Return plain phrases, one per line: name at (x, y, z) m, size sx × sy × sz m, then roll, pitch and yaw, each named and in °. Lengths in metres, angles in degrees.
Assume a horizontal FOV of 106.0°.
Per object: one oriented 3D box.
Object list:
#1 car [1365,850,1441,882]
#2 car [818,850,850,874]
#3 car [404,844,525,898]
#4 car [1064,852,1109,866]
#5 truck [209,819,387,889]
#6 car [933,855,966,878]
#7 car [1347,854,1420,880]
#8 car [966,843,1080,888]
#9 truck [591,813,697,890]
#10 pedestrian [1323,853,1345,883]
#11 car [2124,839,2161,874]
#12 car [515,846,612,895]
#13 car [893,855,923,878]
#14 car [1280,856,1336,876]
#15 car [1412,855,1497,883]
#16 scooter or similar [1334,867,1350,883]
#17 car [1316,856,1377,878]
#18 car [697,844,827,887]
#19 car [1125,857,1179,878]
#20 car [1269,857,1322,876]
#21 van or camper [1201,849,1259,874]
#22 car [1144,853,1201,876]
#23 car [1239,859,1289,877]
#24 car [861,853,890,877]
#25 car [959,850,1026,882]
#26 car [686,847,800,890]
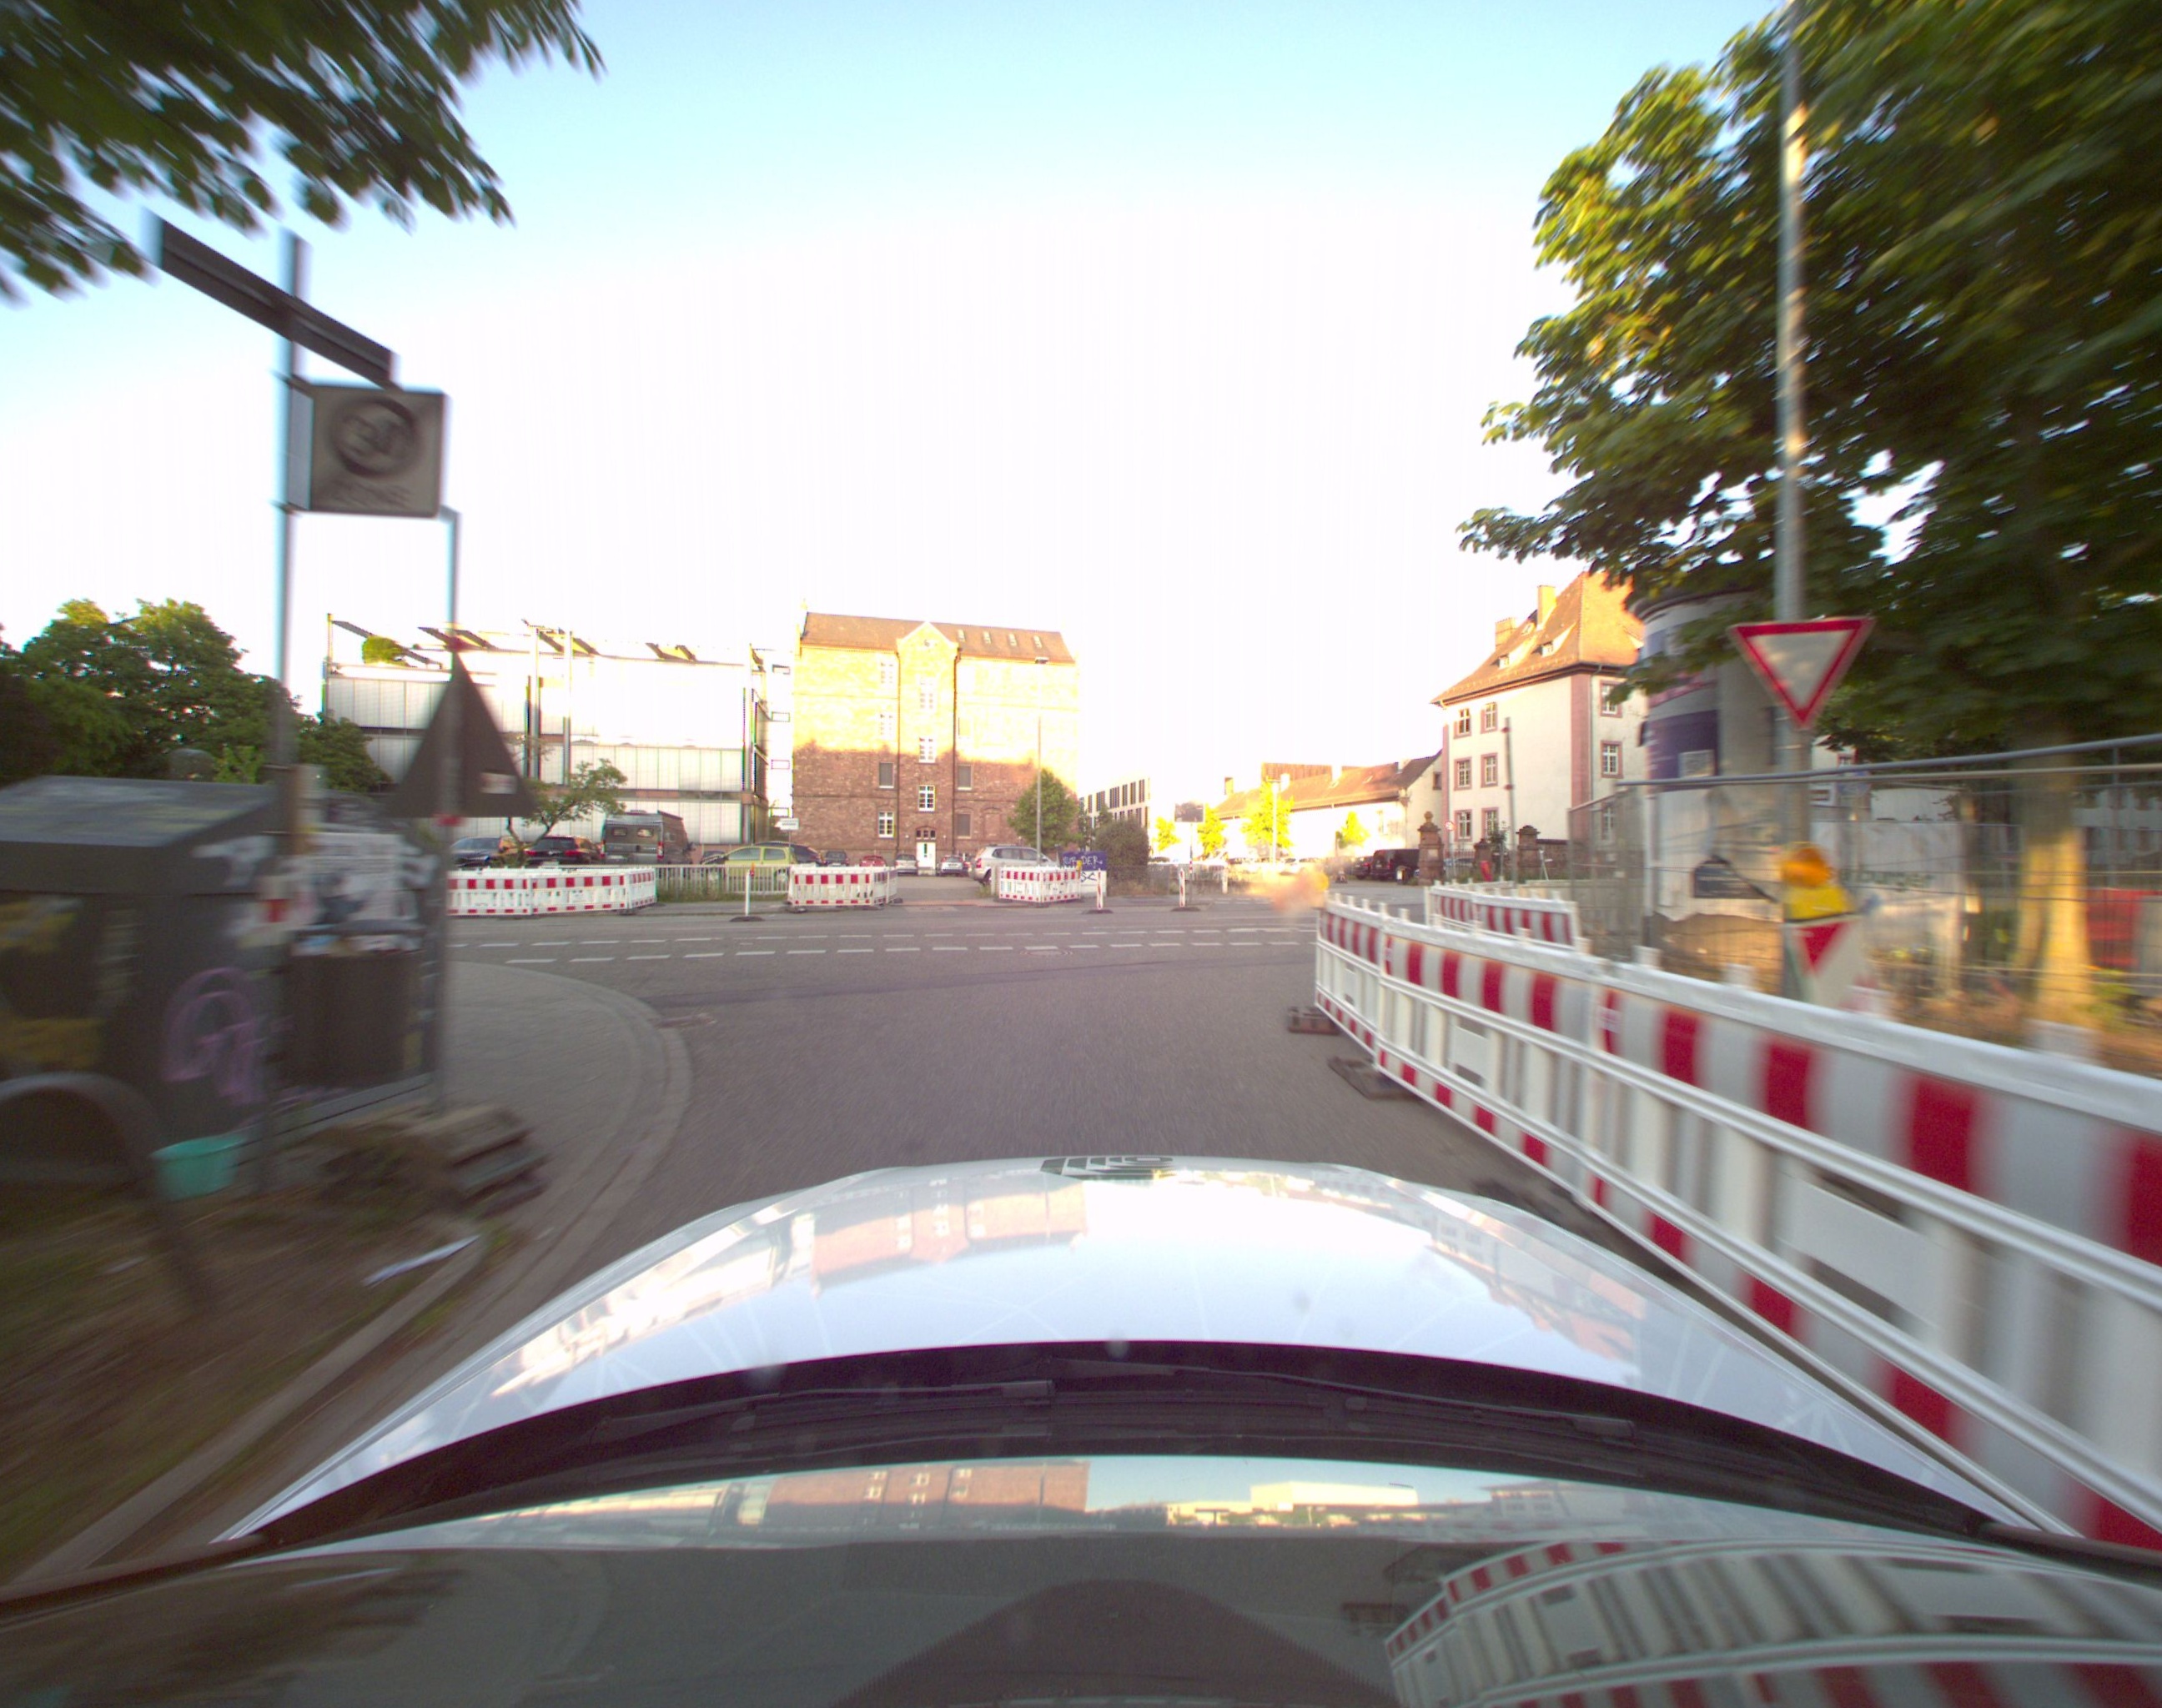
car at (19.551, 0.728, 49.476) m, size 3.999 × 1.859 × 1.987 m, roll 0°, pitch -1°, yaw -19°
car at (-16.645, 0.513, 55.124) m, size 1.899 × 1.537 × 4.158 m, roll 0°, pitch 0°, yaw -15°
car at (-21.332, 0.546, 28.418) m, size 1.998 × 1.727 × 4.276 m, roll 0°, pitch 0°, yaw -17°
car at (0.511, 0.510, 78.208) m, size 3.995 × 1.313 × 1.867 m, roll 0°, pitch -1°, yaw -16°
truck at (-25.562, 0.005, 26.860) m, size 2.107 × 2.090 × 4.494 m, roll 0°, pitch 0°, yaw -12°
car at (-9.186, 0.855, 56.719) m, size 1.899 × 1.537 × 4.158 m, roll 0°, pitch 0°, yaw -15°
car at (19.336, 0.824, 52.101) m, size 3.999 × 1.573 × 1.987 m, roll 0°, pitch -1°, yaw -19°
car at (-2.337, 0.445, 32.403) m, size 4.278 × 1.708 × 1.693 m, roll 0°, pitch 0°, yaw -17°
truck at (-16.216, -0.090, 30.552) m, size 2.337 × 2.617 × 4.949 m, roll 0°, pitch 0°, yaw -14°
pedestrian at (14.281, 0.791, 45.940) m, size 0.751 × 1.642 × 1.009 m, roll 0°, pitch -1°, yaw -14°
car at (63.657, 0.144, 46.915) m, size 2.000 × 2.013 × 3.974 m, roll 0°, pitch 0°, yaw -20°
car at (-18.901, 0.563, 29.943) m, size 1.998 × 1.692 × 3.977 m, roll 0°, pitch 0°, yaw -17°
car at (-11.994, 0.835, 56.284) m, size 1.899 × 1.537 × 4.158 m, roll 0°, pitch 0°, yaw -15°
car at (16.979, 0.892, 60.952) m, size 3.751 × 1.445 × 1.676 m, roll 0°, pitch -1°, yaw -19°
car at (20.495, 0.817, 44.730) m, size 3.999 × 1.459 × 1.987 m, roll 0°, pitch -1°, yaw -19°
scooter or similar at (14.415, 1.170, 45.002) m, size 0.514 × 0.890 × 0.802 m, roll 0°, pitch -1°, yaw -15°
car at (18.477, 0.906, 56.684) m, size 3.751 × 1.529 × 1.676 m, roll 0°, pitch -1°, yaw -19°
car at (-12.576, 0.423, 32.357) m, size 4.589 × 1.638 × 1.568 m, roll 0°, pitch 0°, yaw -14°
car at (5.445, 1.031, 62.321) m, size 3.751 × 1.603 × 1.676 m, roll 0°, pitch -1°, yaw -19°
car at (16.755, 0.987, 63.606) m, size 3.751 × 1.445 × 1.676 m, roll 0°, pitch -1°, yaw -19°
van or camper at (13.641, 0.659, 74.562) m, size 4.977 × 2.240 × 1.676 m, roll 0°, pitch -1°, yaw -19°
car at (6.665, 0.756, 59.411) m, size 3.751 × 1.603 × 1.676 m, roll 0°, pitch -1°, yaw -19°
car at (15.103, 1.142, 67.311) m, size 3.751 × 1.445 × 1.676 m, roll 0°, pitch -1°, yaw -19°
car at (-14.090, 0.725, 55.816) m, size 1.899 × 1.537 × 4.158 m, roll 0°, pitch 0°, yaw -15°
car at (-4.934, 0.665, 45.344) m, size 3.483 × 1.708 × 1.659 m, roll 0°, pitch 0°, yaw -17°
car at (-12.314, 0.506, 29.917) m, size 3.636 × 1.504 × 1.629 m, roll 0°, pitch 0°, yaw -14°
